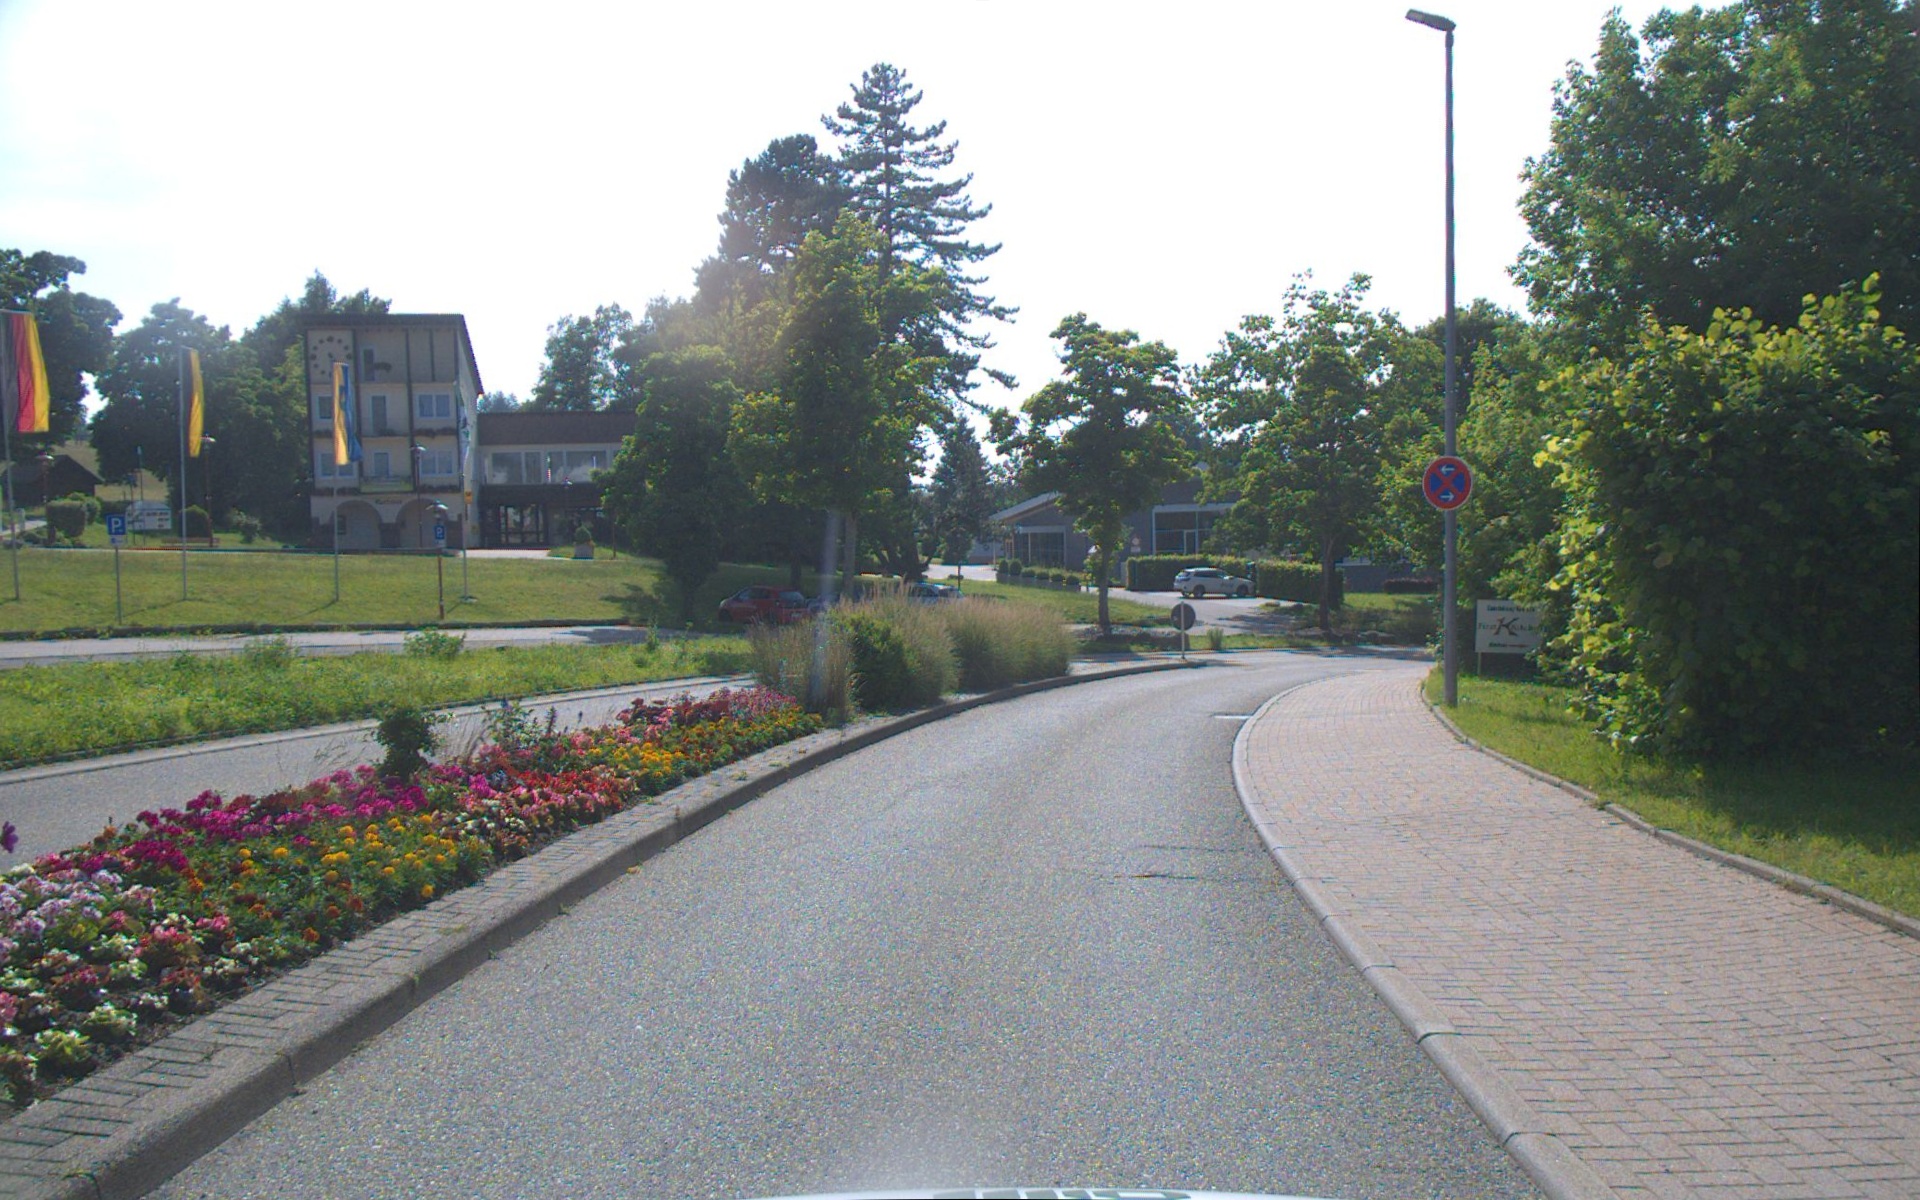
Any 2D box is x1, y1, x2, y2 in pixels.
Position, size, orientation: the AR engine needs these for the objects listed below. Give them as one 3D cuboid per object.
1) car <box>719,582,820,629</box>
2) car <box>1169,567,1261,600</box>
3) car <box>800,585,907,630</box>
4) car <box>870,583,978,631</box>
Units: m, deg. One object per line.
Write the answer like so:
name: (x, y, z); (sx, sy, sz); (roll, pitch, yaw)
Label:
car: (-6.610, 0.186, 57.170); (3.148, 1.496, 1.767); (3, 1, 40)
car: (14.125, -0.951, 91.670); (4.639, 1.560, 1.993); (-1, 6, -17)
car: (-3.853, 0.265, 59.534); (3.647, 1.458, 1.766); (3, 1, 41)
car: (-1.372, 0.266, 62.523); (3.870, 1.637, 1.766); (3, 1, 41)
